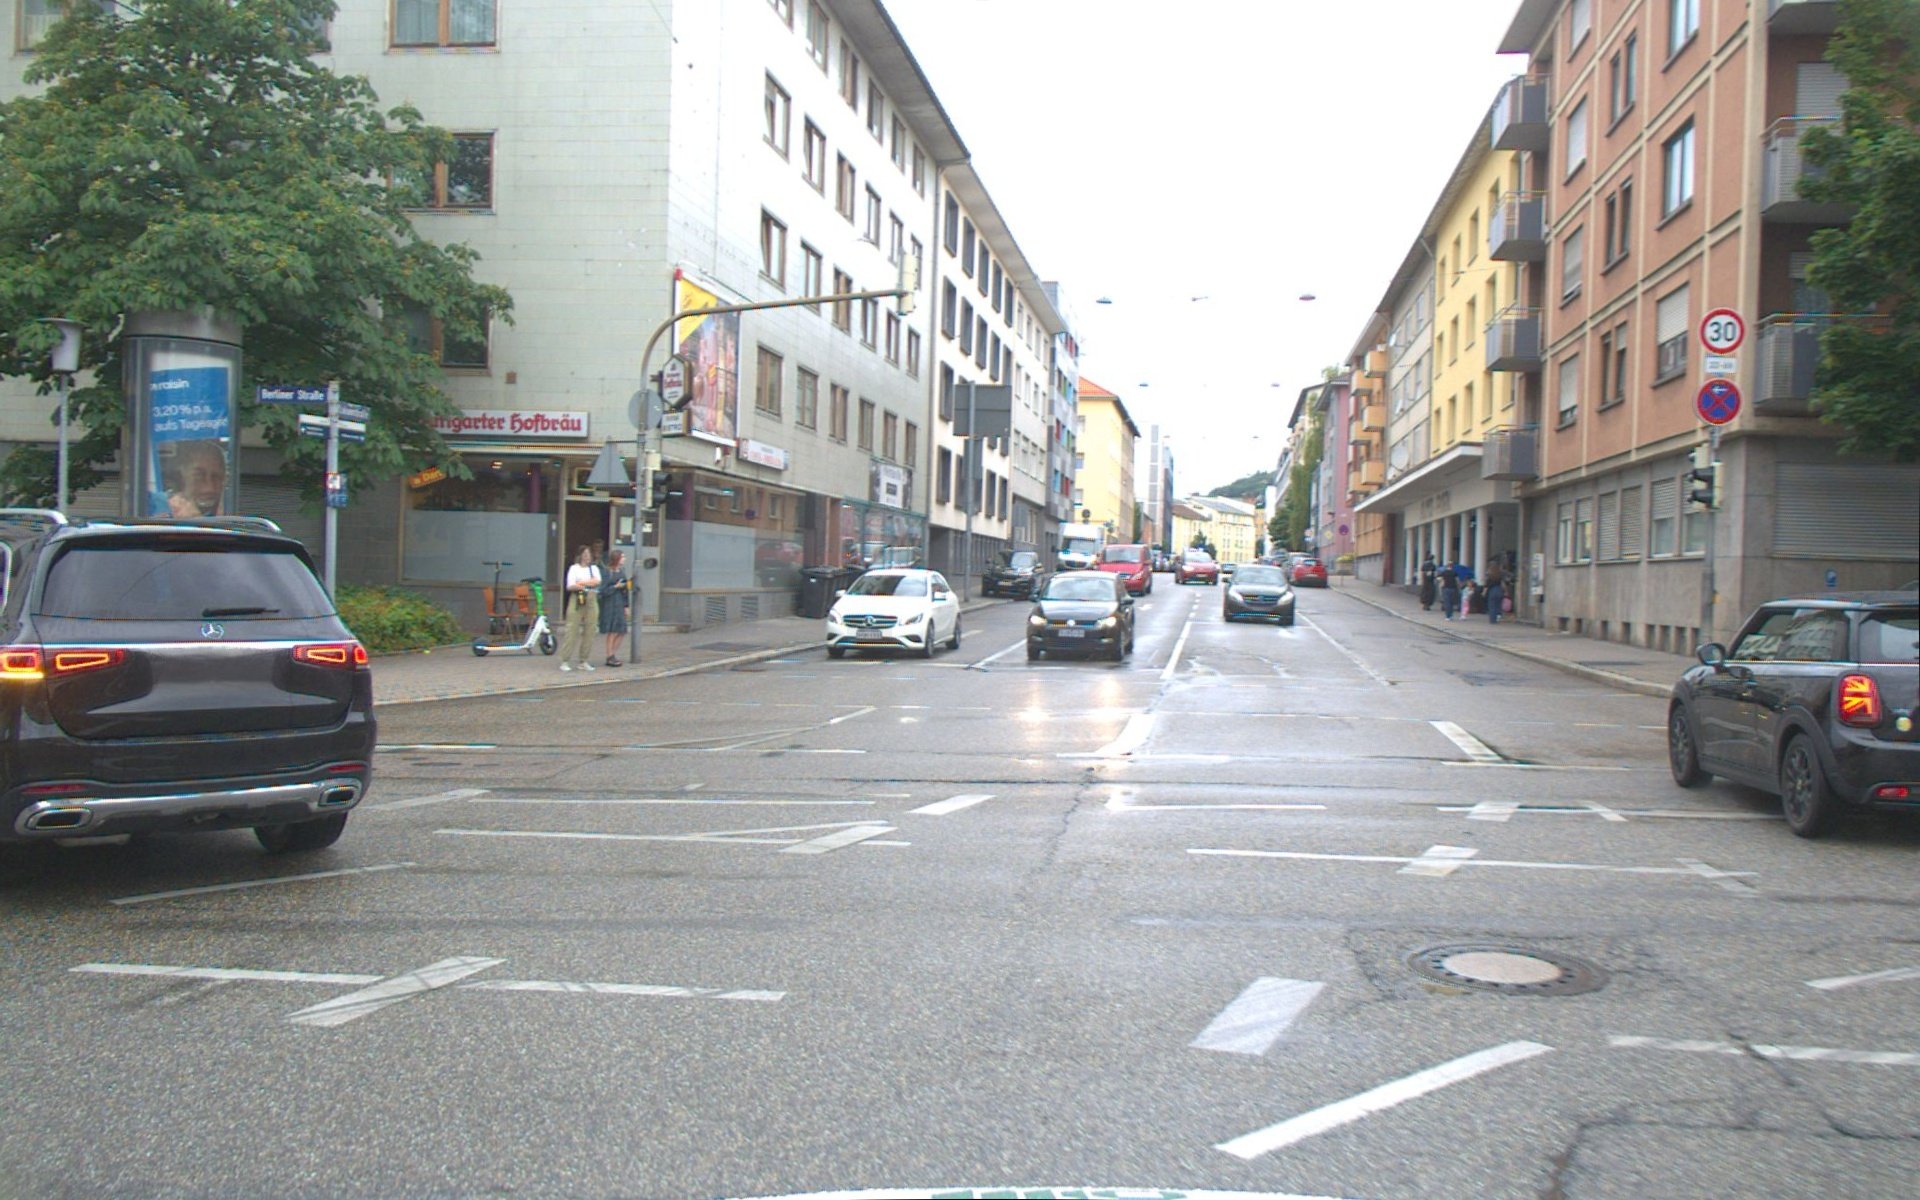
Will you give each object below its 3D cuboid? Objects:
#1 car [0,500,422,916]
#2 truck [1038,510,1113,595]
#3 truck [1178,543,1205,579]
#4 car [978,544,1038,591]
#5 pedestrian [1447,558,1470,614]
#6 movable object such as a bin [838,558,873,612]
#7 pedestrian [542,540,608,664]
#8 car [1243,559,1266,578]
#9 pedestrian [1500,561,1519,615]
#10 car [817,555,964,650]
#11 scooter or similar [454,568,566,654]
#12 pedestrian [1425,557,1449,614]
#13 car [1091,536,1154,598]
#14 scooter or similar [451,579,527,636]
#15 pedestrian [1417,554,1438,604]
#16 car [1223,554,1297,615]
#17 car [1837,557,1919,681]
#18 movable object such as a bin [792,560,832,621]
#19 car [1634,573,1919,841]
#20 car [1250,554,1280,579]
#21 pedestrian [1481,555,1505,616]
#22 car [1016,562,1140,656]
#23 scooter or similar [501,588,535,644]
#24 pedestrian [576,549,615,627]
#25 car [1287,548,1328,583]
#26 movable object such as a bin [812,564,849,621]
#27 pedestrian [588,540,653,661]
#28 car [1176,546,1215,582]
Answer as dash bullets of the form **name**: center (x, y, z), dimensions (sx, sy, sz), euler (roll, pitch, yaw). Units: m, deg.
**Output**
- **car**: center (-5.070, 0.437, 9.351), dimensions (2.012, 1.770, 4.669), euler (-1, 1, -44)
- **truck**: center (5.943, -2.319, 83.911), dimensions (2.748, 3.899, 8.151), euler (2, 0, 10)
- **truck**: center (27.517, -4.579, 196.361), dimensions (2.748, 3.899, 8.151), euler (2, 0, 10)
- **car**: center (1.768, -1.157, 59.706), dimensions (1.687, 1.631, 4.003), euler (0, 0, 8)
- **pedestrian**: center (14.197, -0.416, 47.110), dimensions (0.509, 1.545, 0.570), euler (2, 4, 9)
- **movable object such as a bin**: center (-2.666, -0.369, 42.301), dimensions (0.682, 1.338, 0.783), euler (2, -1, 8)
- **pedestrian**: center (-5.375, 0.021, 23.077), dimensions (0.699, 1.675, 0.752), euler (1, 4, -27)
- **car**: center (27.091, -2.894, 152.231), dimensions (1.973, 1.590, 4.003), euler (2, 0, 11)
- **pedestrian**: center (14.772, -0.324, 44.498), dimensions (0.355, 1.423, 0.370), euler (2, 4, 9)
- **car**: center (-1.131, 0.023, 28.844), dimensions (1.804, 1.539, 4.004), euler (0, 1, 9)
- **scooter or similar**: center (-6.732, 0.169, 24.748), dimensions (1.534, 1.211, 0.498), euler (3, -1, -21)
- **pedestrian**: center (13.629, -0.416, 47.279), dimensions (0.509, 1.565, 0.570), euler (2, 4, 9)
- **car**: center (6.266, -1.244, 63.343), dimensions (2.021, 2.280, 4.624), euler (0, 0, 10)
- **scooter or similar**: center (-7.633, 0.119, 26.766), dimensions (0.546, 0.857, 1.442), euler (3, -1, -44)
- **pedestrian**: center (15.424, -0.699, 54.562), dimensions (0.509, 1.583, 0.570), euler (2, 4, 9)
- **car**: center (7.853, -0.406, 43.564), dimensions (1.804, 1.515, 4.003), euler (0, 0, 9)
- **car**: center (13.211, 0.246, 21.500), dimensions (1.804, 1.581, 4.800), euler (0, 0, 10)
- **movable object such as a bin**: center (-3.374, -0.211, 37.705), dimensions (0.682, 1.338, 0.783), euler (2, -1, 8)
- **car**: center (5.926, 0.558, 11.097), dimensions (1.625, 1.445, 4.076), euler (0, 1, 8)
- **car**: center (21.850, -2.357, 118.455), dimensions (1.973, 1.590, 4.003), euler (2, 0, 11)
- **pedestrian**: center (14.350, -0.391, 44.551), dimensions (0.469, 1.593, 0.558), euler (2, 4, 9)
- **car**: center (2.125, 0.132, 28.871), dimensions (1.804, 1.515, 4.004), euler (0, 1, 9)
- **scooter or similar**: center (-7.121, 0.251, 26.666), dimensions (0.450, 0.857, 1.317), euler (3, 0, -14)
- **pedestrian**: center (-6.828, -0.219, 30.980), dimensions (0.508, 1.424, 0.579), euler (2, -1, 5)
- **car**: center (18.169, -1.788, 86.730), dimensions (1.973, 1.590, 5.159), euler (2, 0, 11)
- **movable object such as a bin**: center (-3.088, -0.178, 39.614), dimensions (0.682, 1.338, 0.783), euler (2, -1, 8)
- **pedestrian**: center (-4.900, -0.003, 23.836), dimensions (0.699, 1.675, 0.752), euler (1, 4, -27)
- **car**: center (11.650, -1.764, 81.645), dimensions (1.804, 1.703, 4.003), euler (0, 0, 10)
